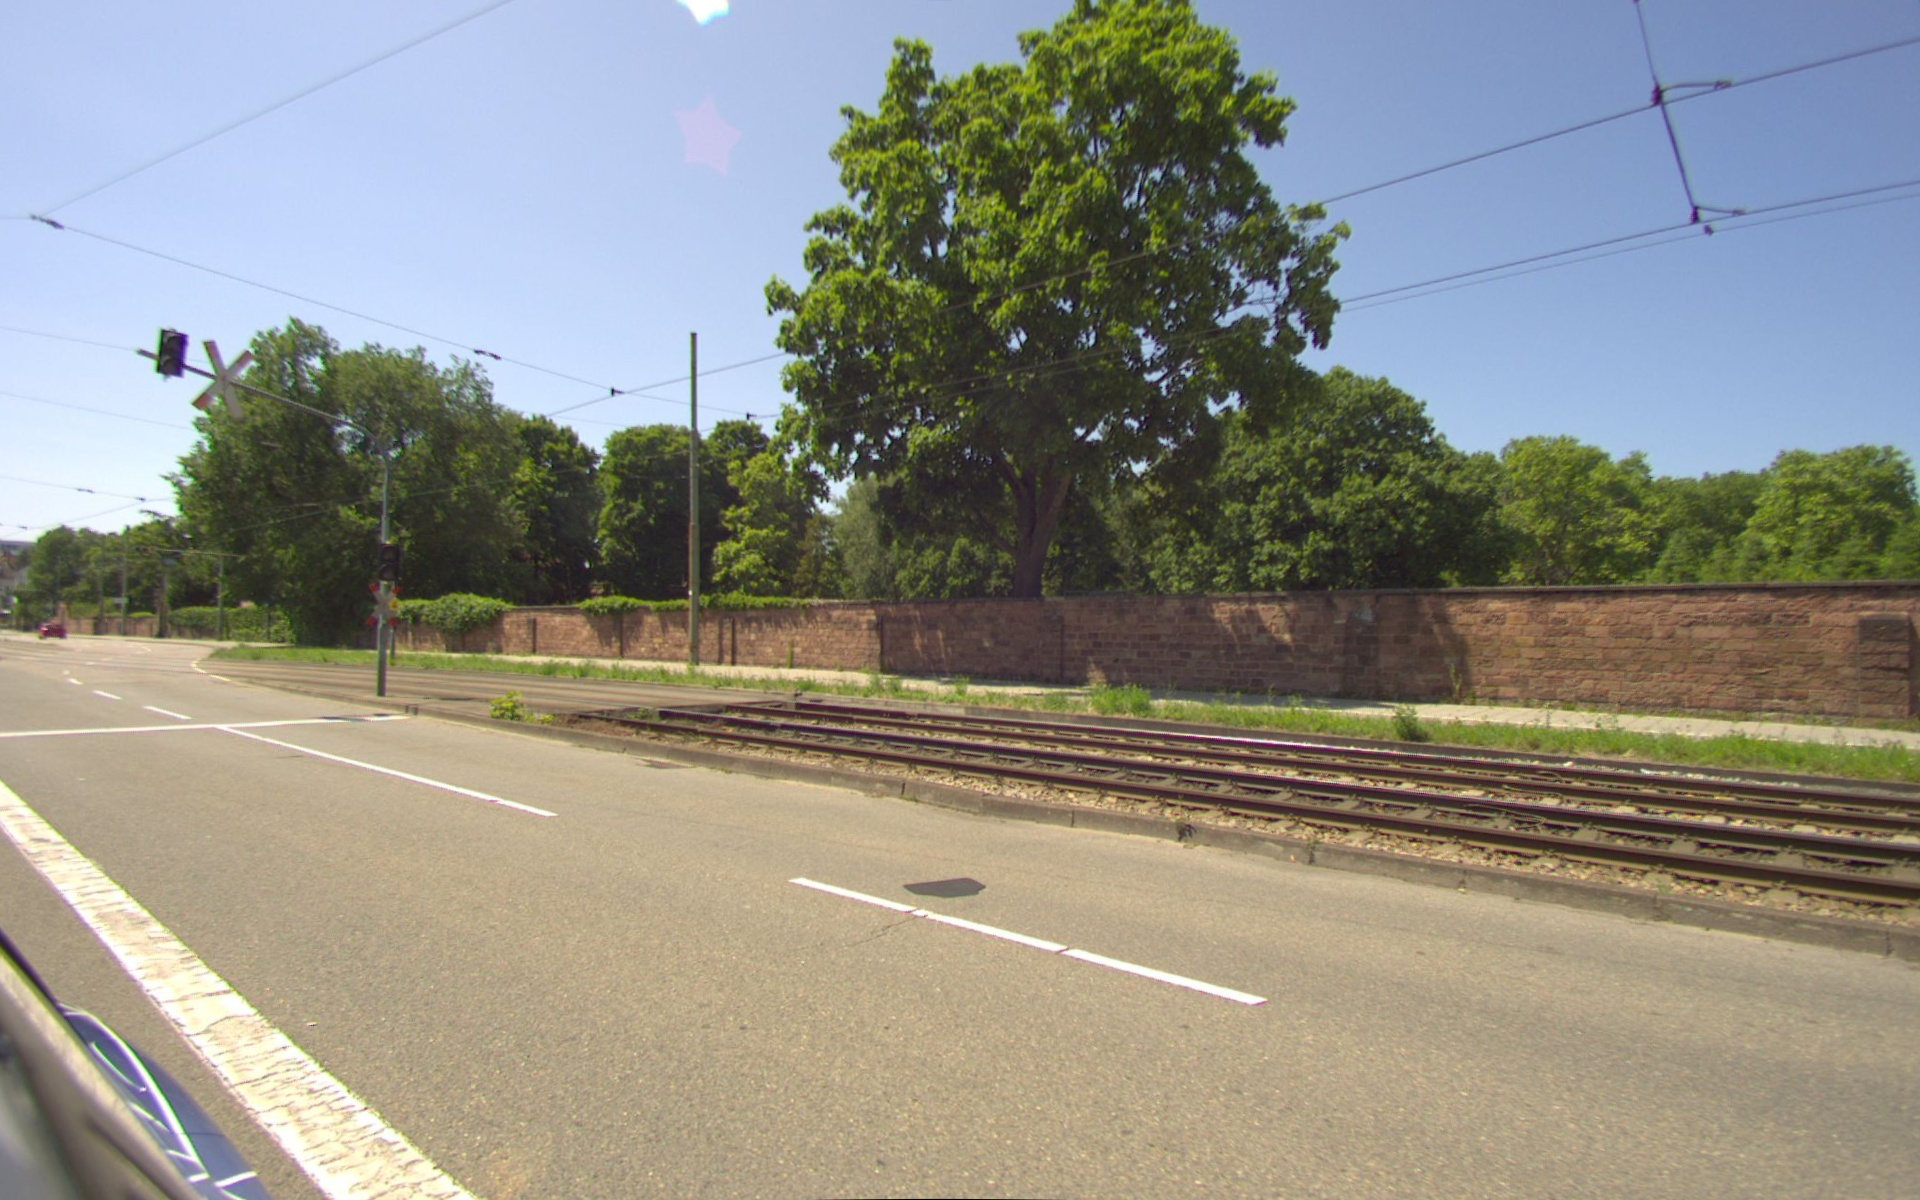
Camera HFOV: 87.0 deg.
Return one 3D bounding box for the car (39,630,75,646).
[{"bbox_3d":[-83.984,3.544,94.160,1.682,1.425,4.294,1,-2,-30],"label":"car"}]
